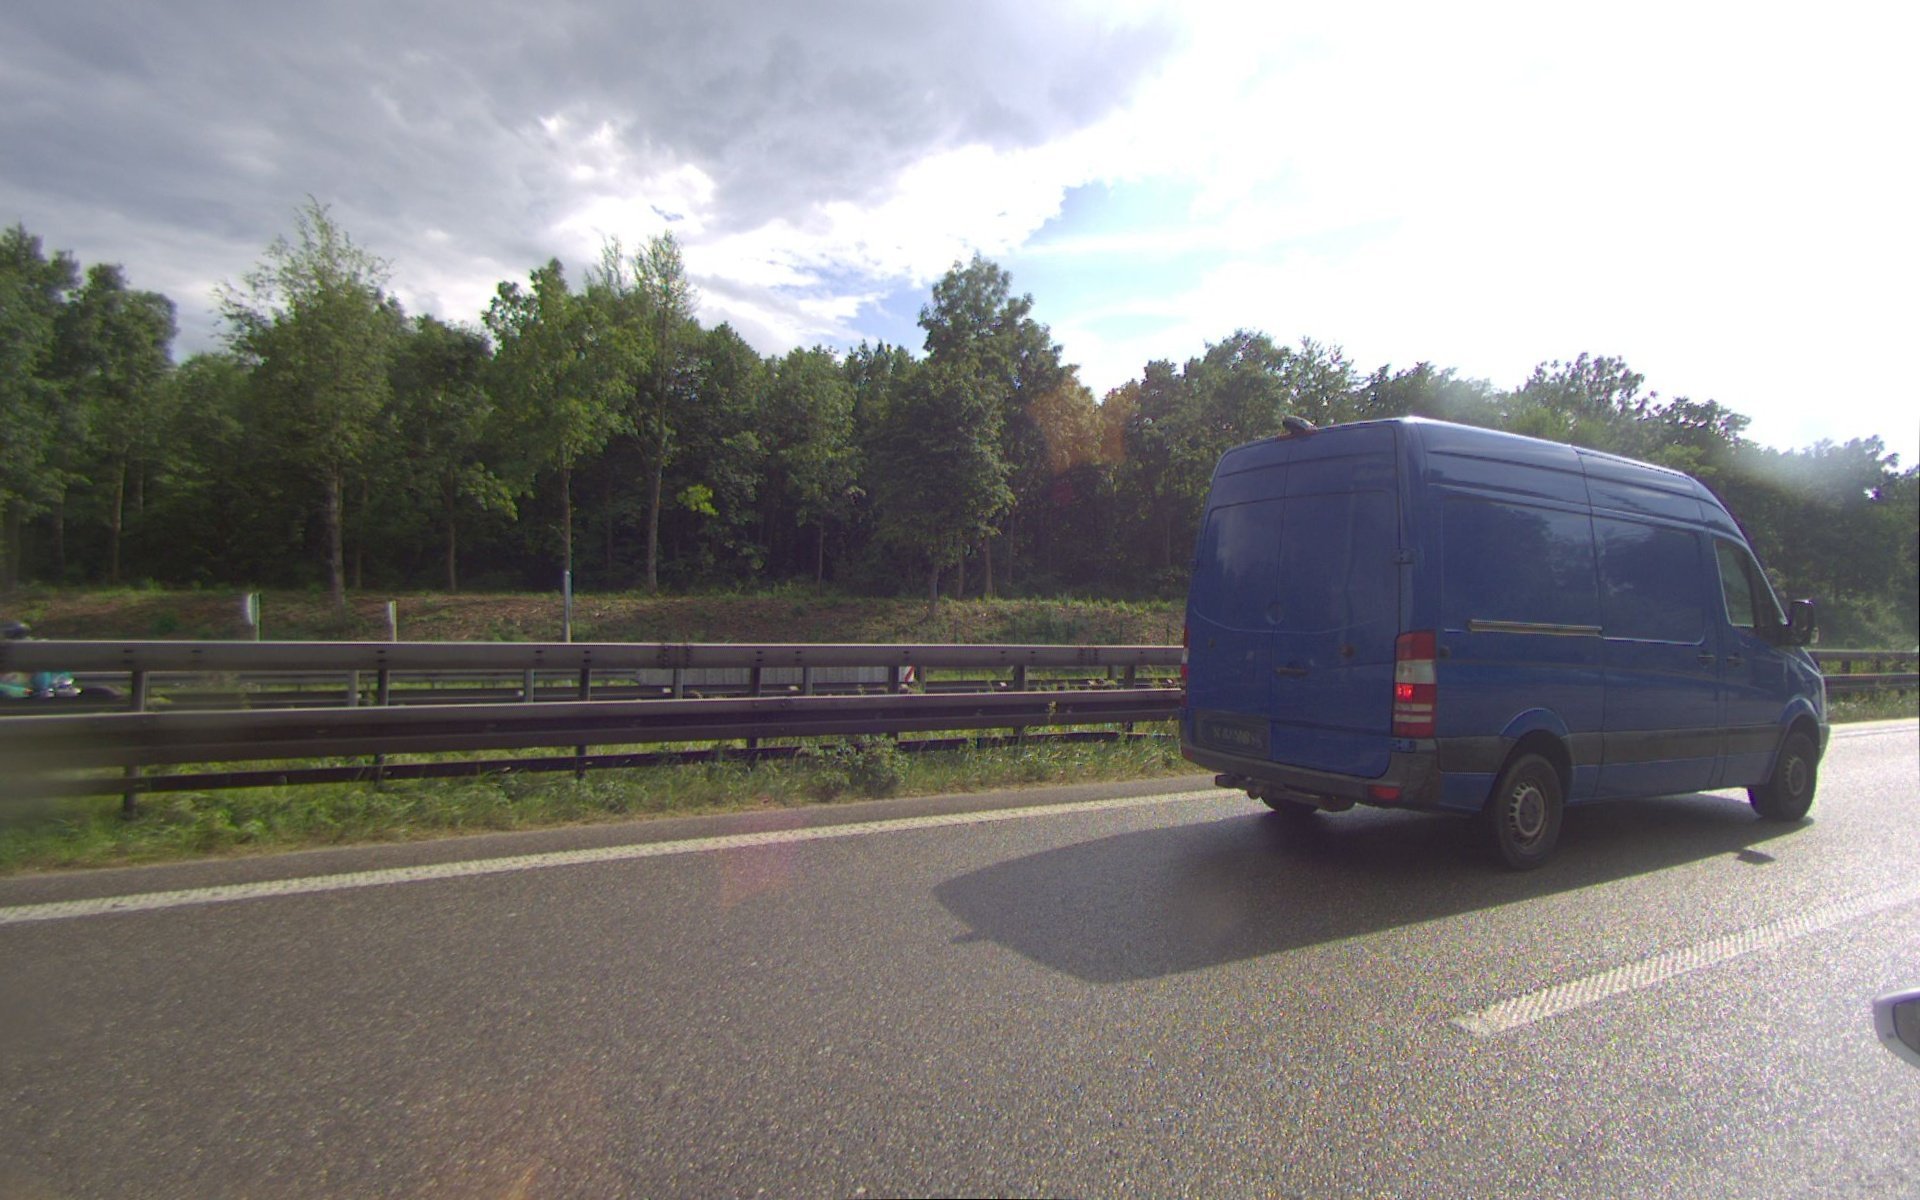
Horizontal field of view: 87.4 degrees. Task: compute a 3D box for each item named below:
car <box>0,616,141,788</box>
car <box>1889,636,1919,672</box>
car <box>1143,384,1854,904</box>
[{"bbox_3d":[-13.109,1.255,12.710,3.953,2.041,1.823,1,1,-30],"label":"car"},{"bbox_3d":[45.190,2.496,46.677,3.954,1.601,1.912,2,-2,-31],"label":"car"},{"bbox_3d":[4.242,0.303,7.512,5.710,2.684,2.006,2,-1,-31],"label":"car"}]
